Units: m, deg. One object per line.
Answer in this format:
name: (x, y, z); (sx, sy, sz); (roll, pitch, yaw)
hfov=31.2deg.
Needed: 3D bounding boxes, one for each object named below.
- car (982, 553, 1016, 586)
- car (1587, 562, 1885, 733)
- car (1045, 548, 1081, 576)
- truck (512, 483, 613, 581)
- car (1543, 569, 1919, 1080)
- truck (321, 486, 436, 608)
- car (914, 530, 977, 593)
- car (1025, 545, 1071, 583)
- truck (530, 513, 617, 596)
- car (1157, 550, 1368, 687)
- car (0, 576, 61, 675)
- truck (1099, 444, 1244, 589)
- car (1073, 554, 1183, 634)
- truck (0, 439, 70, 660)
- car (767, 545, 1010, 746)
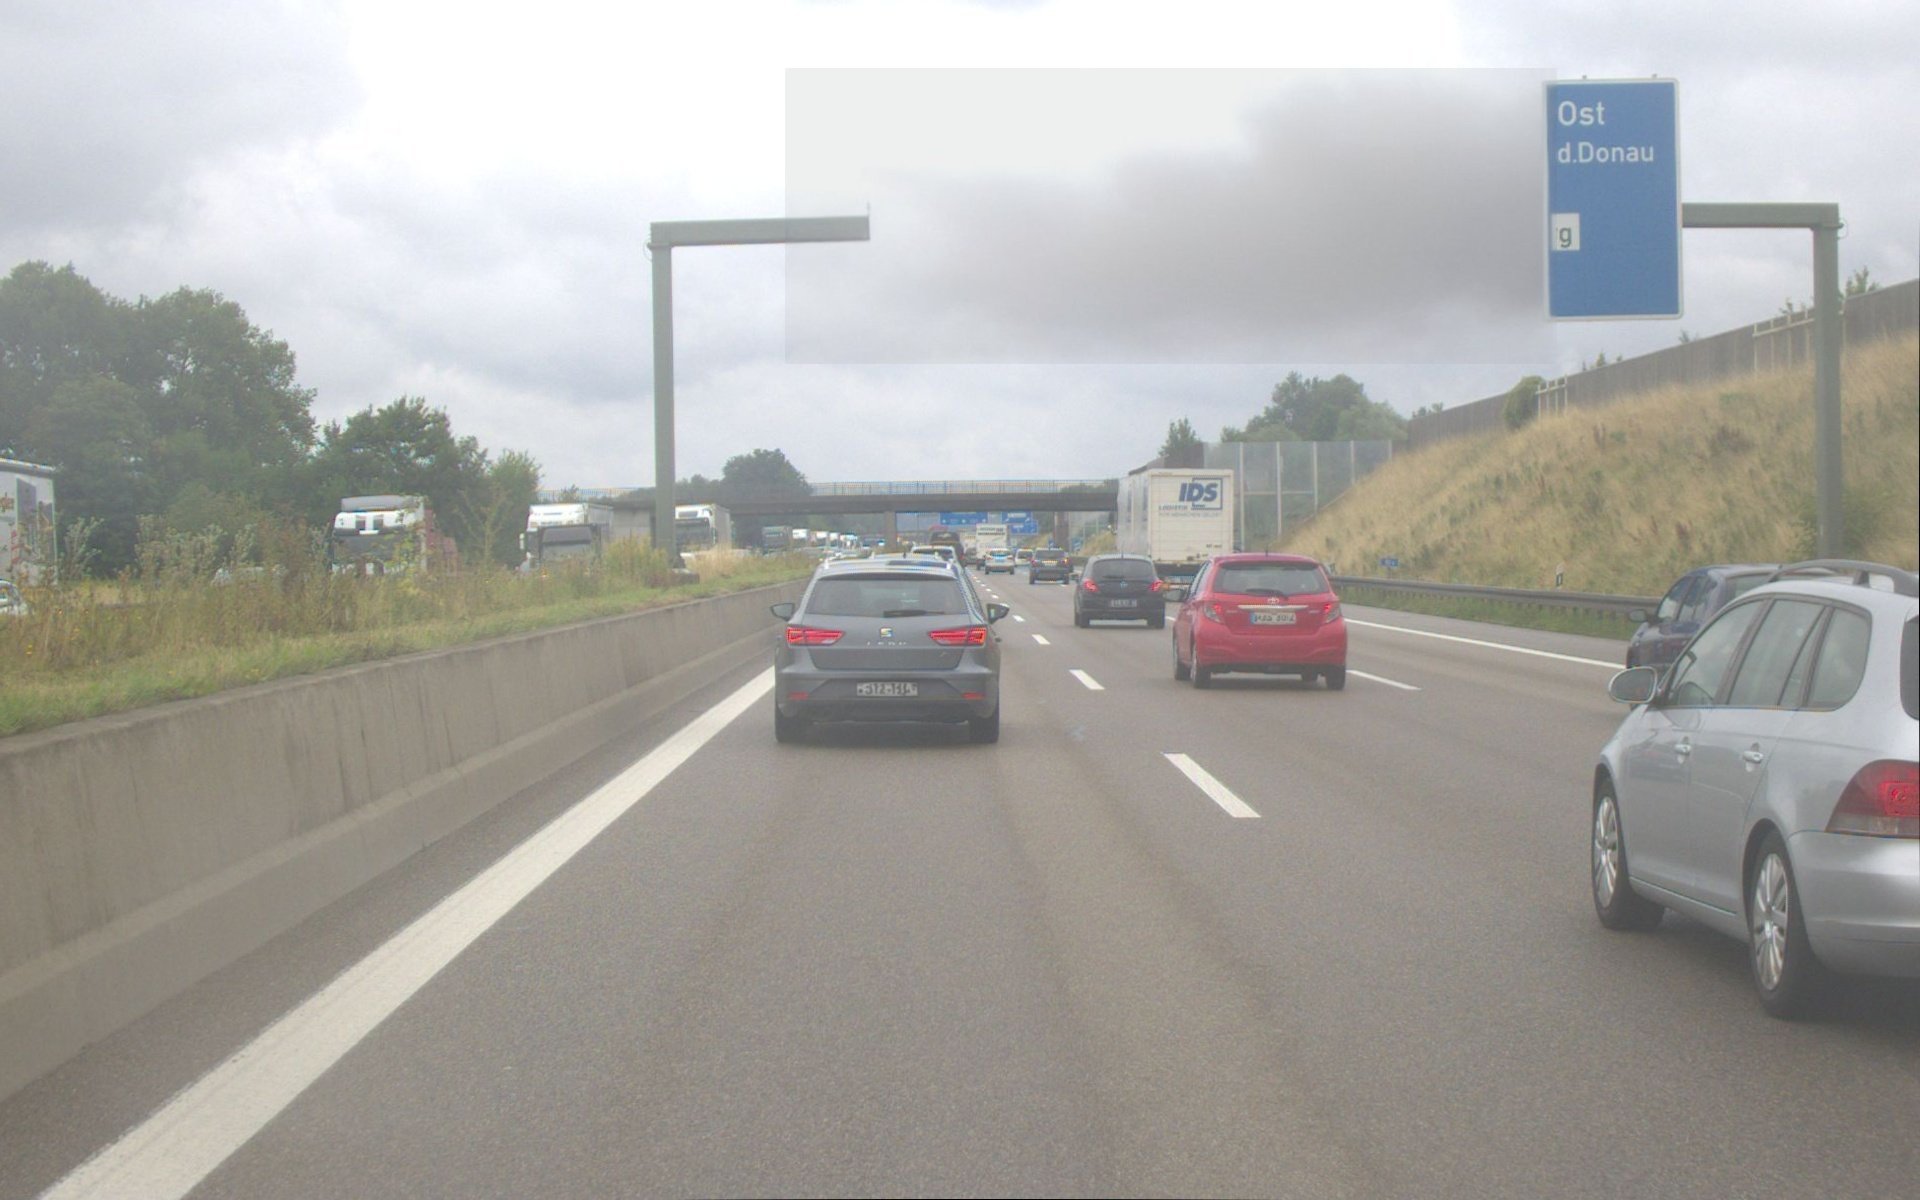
car: (2.383, -1.886, 211.336); (1.993, 2.007, 4.242); (1, 0, 0)
car: (6.804, 0.378, 30.503); (1.702, 1.396, 3.875); (1, 0, -1)
car: (6.780, -2.516, 226.088); (1.993, 1.853, 4.391); (0, 1, -3)
truck: (-17.873, -3.026, 154.970); (3.615, 4.260, 7.591); (1, 0, 0)
car: (3.357, 0.624, 12.149); (1.742, 1.420, 4.517); (-1, 1, -1)
truck: (-18.321, -1.732, 108.589); (2.641, 3.713, 5.872); (1, 2, 0)
car: (-0.460, -1.147, 102.425); (1.704, 1.790, 3.855); (-2, 1, -2)
car: (3.924, -1.601, 153.075); (1.845, 1.681, 4.000); (1, 0, -1)
truck: (-14.053, -1.630, 125.409); (2.311, 2.898, 7.424); (1, 0, 0)
car: (3.381, 0.164, 39.227); (1.891, 1.442, 4.685); (0, 1, -1)
car: (-16.923, 0.440, 58.665); (1.882, 1.610, 5.015); (-1, 1, -1)
truck: (6.679, -2.564, 111.878); (3.283, 4.280, 19.034); (1, 0, -1)
car: (3.331, -0.141, 68.855); (1.921, 1.516, 4.622); (0, 1, -1)
truck: (-21.147, -1.040, 69.622); (3.512, 4.468, 11.789); (1, 0, -2)
car: (-0.588, 0.317, 27.389); (1.768, 1.462, 4.000); (1, 0, -2)
